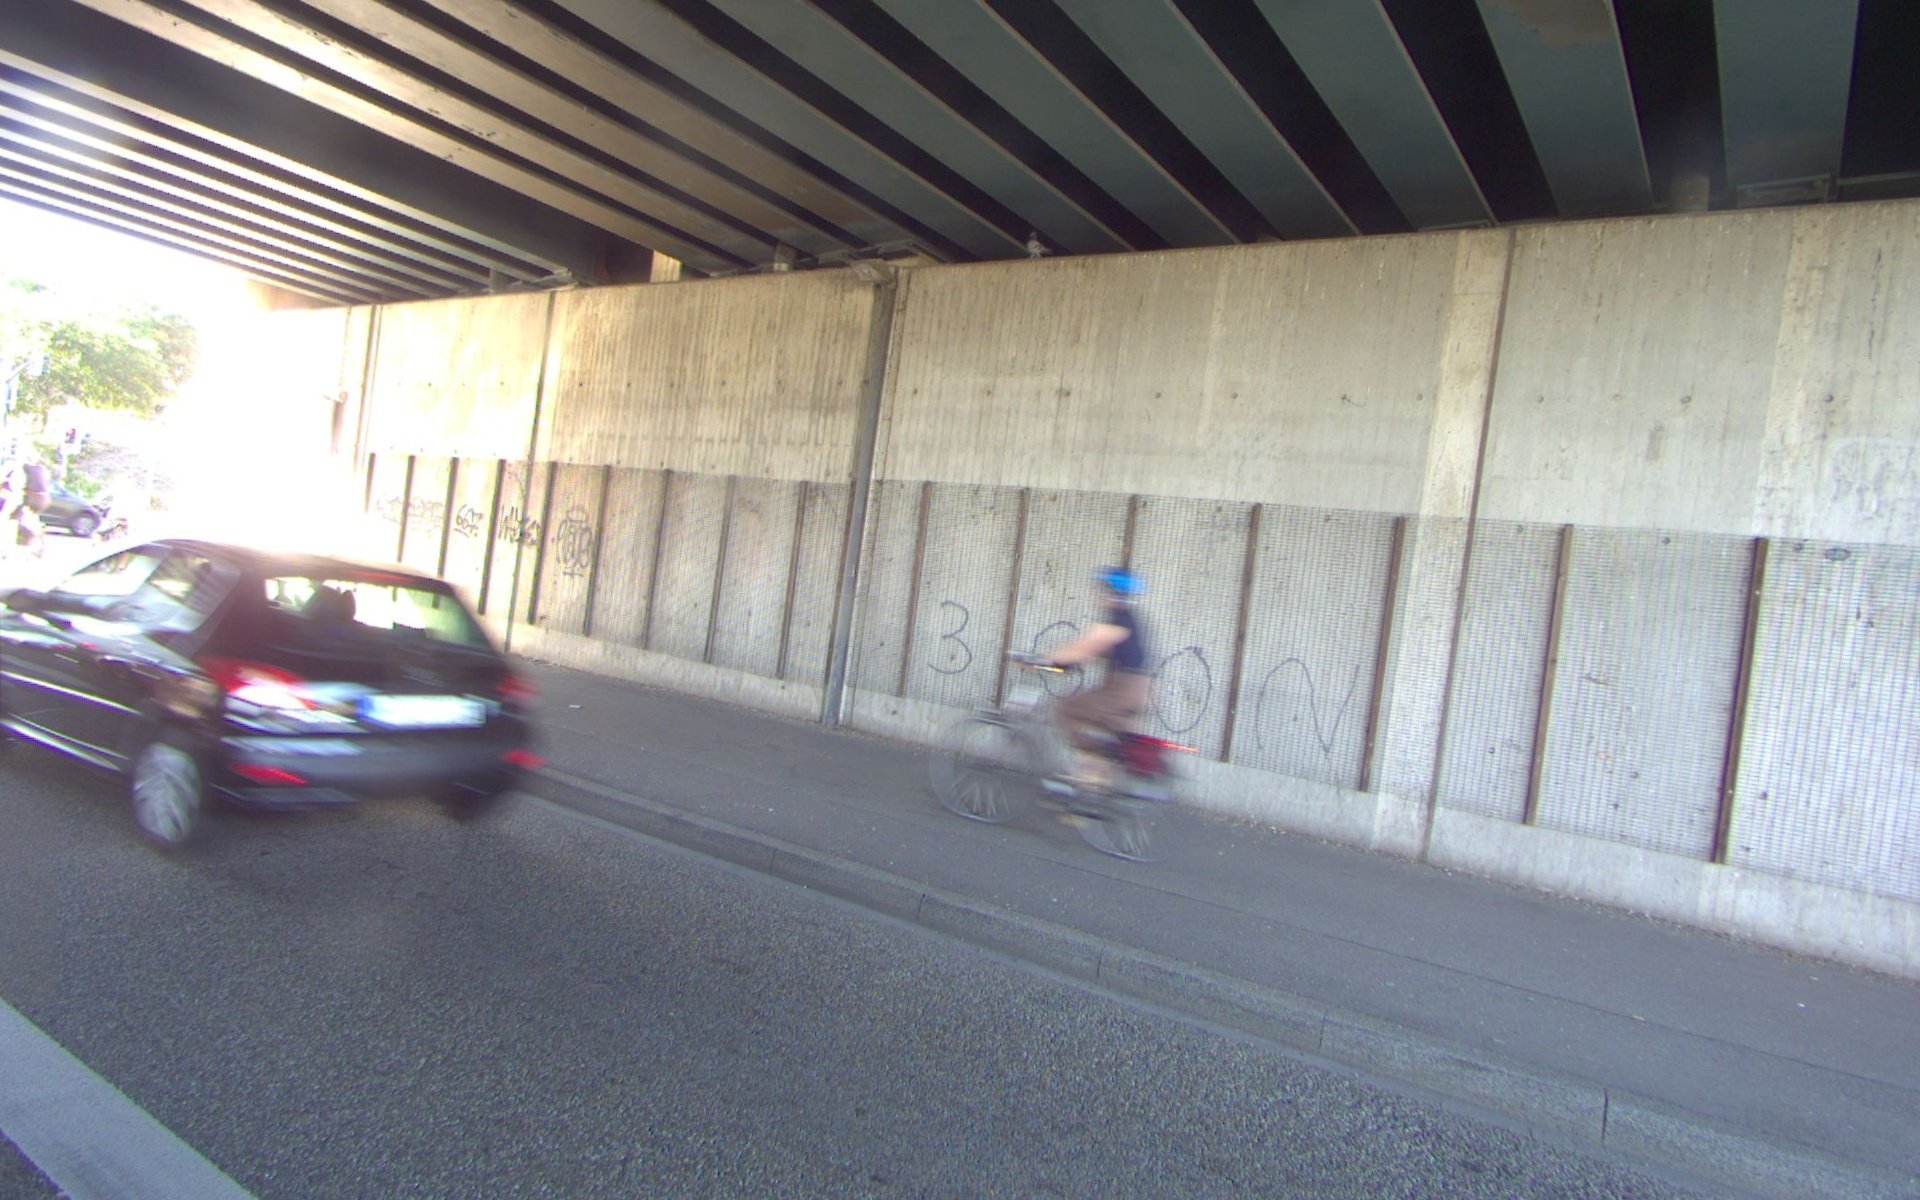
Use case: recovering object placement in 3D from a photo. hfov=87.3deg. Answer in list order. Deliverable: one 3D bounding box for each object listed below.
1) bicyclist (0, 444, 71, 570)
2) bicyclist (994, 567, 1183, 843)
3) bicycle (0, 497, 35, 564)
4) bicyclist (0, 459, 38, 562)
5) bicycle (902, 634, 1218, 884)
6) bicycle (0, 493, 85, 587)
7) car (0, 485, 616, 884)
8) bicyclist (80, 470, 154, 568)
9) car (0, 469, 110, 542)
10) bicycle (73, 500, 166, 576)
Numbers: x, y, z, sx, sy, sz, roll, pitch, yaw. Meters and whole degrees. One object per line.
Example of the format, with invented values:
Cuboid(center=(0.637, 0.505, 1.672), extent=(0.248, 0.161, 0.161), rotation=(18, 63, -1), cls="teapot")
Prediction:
Cuboid(center=(-13.623, -1.342, 14.554), extent=(0.871, 1.674, 0.748), rotation=(7, -1, 31), cls="bicyclist")
Cuboid(center=(0.815, 0.626, 6.362), extent=(0.833, 1.554, 0.653), rotation=(7, 2, 32), cls="bicyclist")
Cuboid(center=(-16.227, -1.210, 16.991), extent=(1.508, 1.036, 0.676), rotation=(6, -2, 43), cls="bicycle")
Cuboid(center=(-16.171, -1.529, 16.978), extent=(0.635, 1.647, 0.676), rotation=(6, -2, 42), cls="bicyclist")
Cuboid(center=(0.596, 0.916, 6.313), extent=(1.749, 1.182, 0.651), rotation=(7, 2, 32), cls="bicycle")
Cuboid(center=(-13.709, -0.921, 14.590), extent=(2.428, 1.161, 0.766), rotation=(8, 2, 31), cls="bicycle")
Cuboid(center=(-3.999, 0.298, 5.698), extent=(3.653, 1.473, 1.750), rotation=(7, -1, 29), cls="car")
Cuboid(center=(-14.701, -1.407, 17.543), extent=(0.723, 1.581, 0.670), rotation=(7, 0, 31), cls="bicyclist")
Cuboid(center=(-25.938, -2.680, 27.408), extent=(1.777, 1.641, 4.110), rotation=(8, -1, 2), cls="car")
Cuboid(center=(-14.598, -1.081, 17.461), extent=(1.577, 1.126, 0.682), rotation=(6, 0, 31), cls="bicycle")
